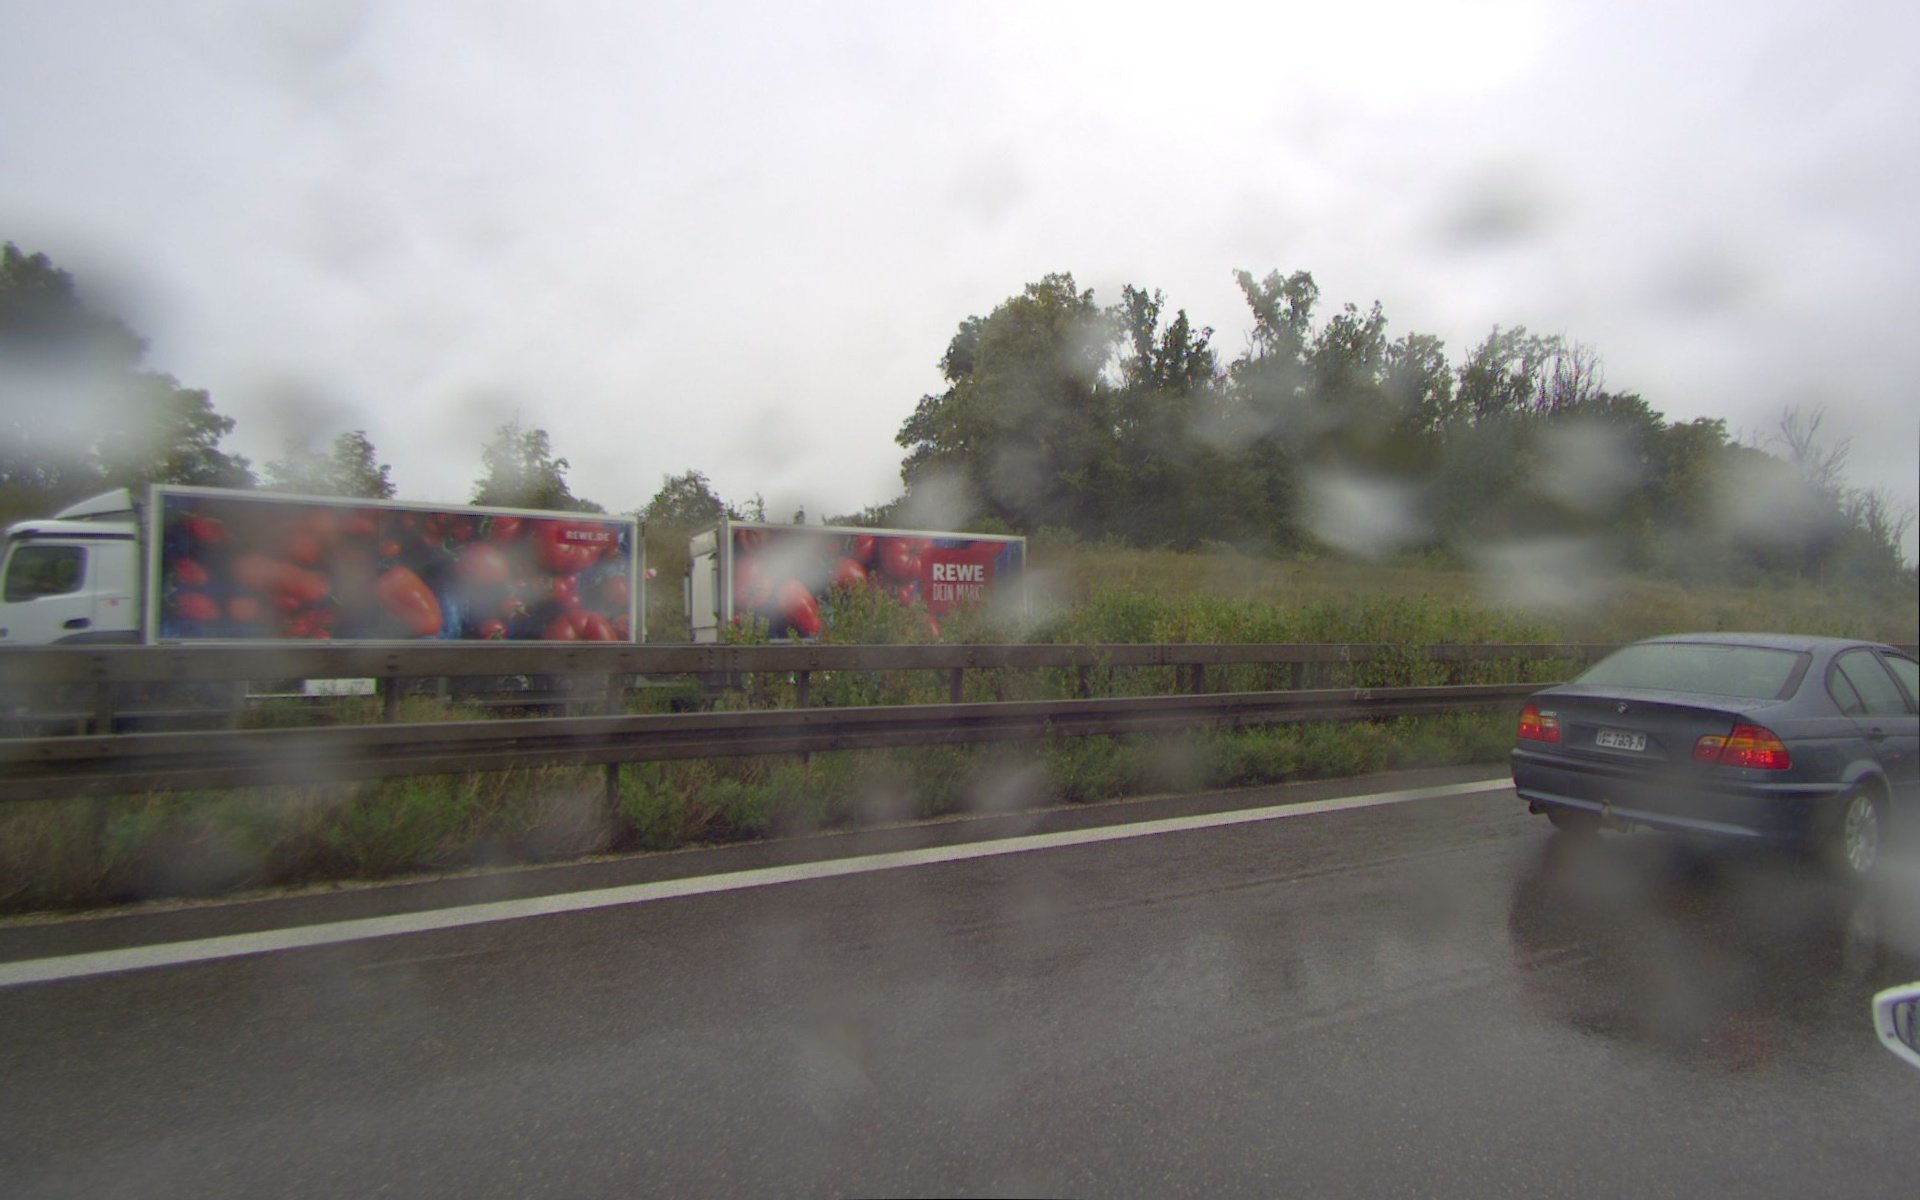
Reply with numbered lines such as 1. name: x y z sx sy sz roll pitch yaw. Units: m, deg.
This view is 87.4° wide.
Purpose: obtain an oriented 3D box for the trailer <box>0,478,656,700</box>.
1. trailer: -10.245 -0.075 17.171 9.443 3.123 1.984 1 0 -31

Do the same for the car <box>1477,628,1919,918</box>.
1. car: 5.602 0.939 6.852 4.180 1.418 1.710 1 -1 -30

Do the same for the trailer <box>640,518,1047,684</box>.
1. trailer: -2.272 0.097 21.923 8.768 3.123 1.984 1 0 -31
